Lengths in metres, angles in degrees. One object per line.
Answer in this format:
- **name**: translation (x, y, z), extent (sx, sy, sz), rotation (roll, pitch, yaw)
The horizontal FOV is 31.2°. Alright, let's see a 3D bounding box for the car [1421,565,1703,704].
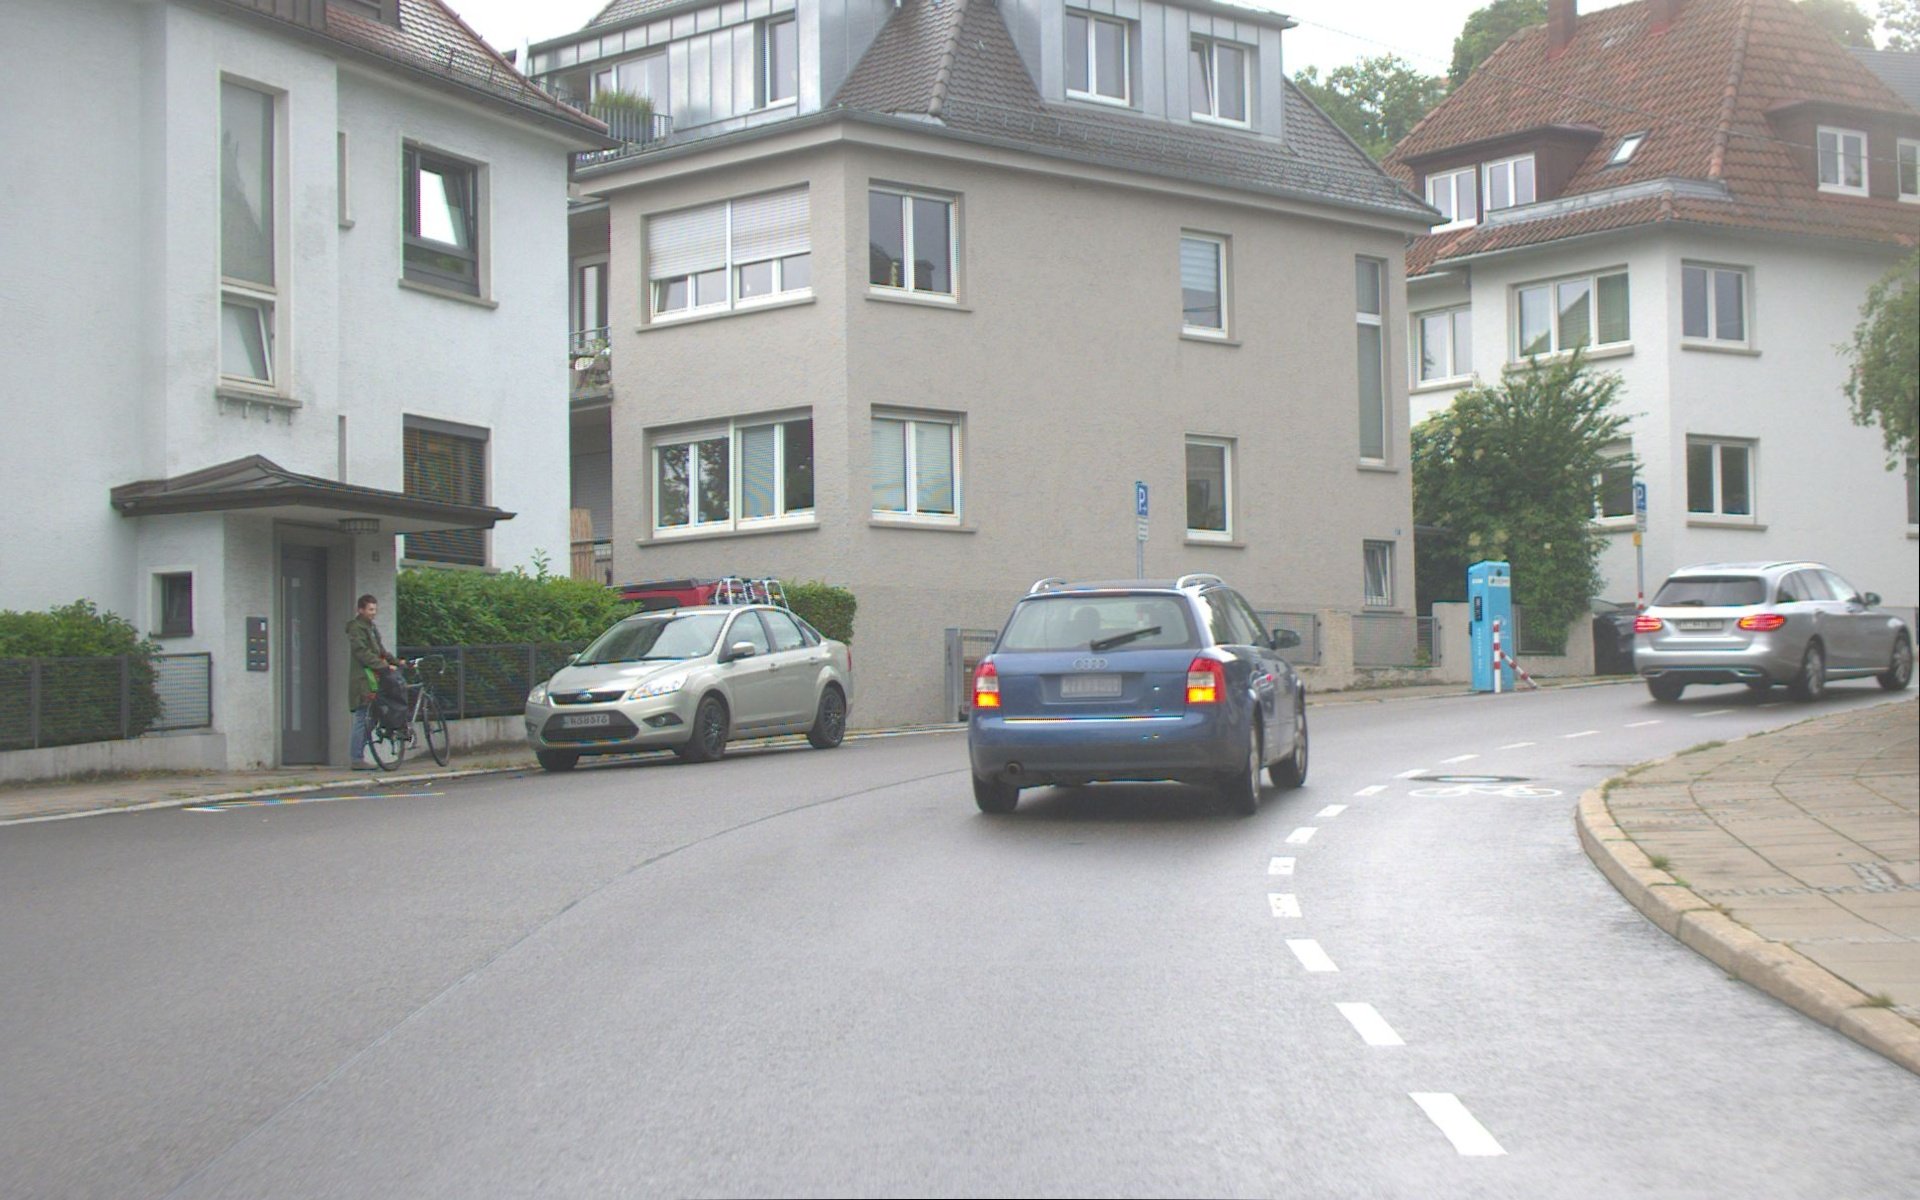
- **car**: translation (9.852, 0.587, 56.578), extent (1.994, 1.618, 4.251), rotation (-2, -8, -35)

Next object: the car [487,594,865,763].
- **car**: translation (-2.636, 0.713, 32.995), extent (1.838, 1.420, 4.225), rotation (-3, 0, 22)

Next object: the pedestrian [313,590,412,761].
- **pedestrian**: translation (-5.598, 0.698, 32.226), extent (0.493, 1.572, 0.947), rotation (-1, 0, 19)

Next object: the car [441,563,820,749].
- **car**: translation (-4.002, 0.681, 41.684), extent (3.993, 1.817, 1.997), rotation (-7, -2, 28)

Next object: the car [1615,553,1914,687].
- **car**: translation (8.678, 0.242, 36.872), extent (1.815, 1.356, 3.992), rotation (0, -1, 34)

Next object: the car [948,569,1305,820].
- **car**: translation (1.161, 0.537, 21.979), extent (1.812, 1.434, 4.080), rotation (-1, 0, 9)

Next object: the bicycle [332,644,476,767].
- **bicycle**: translation (-5.166, 0.968, 32.024), extent (0.456, 1.063, 1.920), rotation (-1, 0, 19)
